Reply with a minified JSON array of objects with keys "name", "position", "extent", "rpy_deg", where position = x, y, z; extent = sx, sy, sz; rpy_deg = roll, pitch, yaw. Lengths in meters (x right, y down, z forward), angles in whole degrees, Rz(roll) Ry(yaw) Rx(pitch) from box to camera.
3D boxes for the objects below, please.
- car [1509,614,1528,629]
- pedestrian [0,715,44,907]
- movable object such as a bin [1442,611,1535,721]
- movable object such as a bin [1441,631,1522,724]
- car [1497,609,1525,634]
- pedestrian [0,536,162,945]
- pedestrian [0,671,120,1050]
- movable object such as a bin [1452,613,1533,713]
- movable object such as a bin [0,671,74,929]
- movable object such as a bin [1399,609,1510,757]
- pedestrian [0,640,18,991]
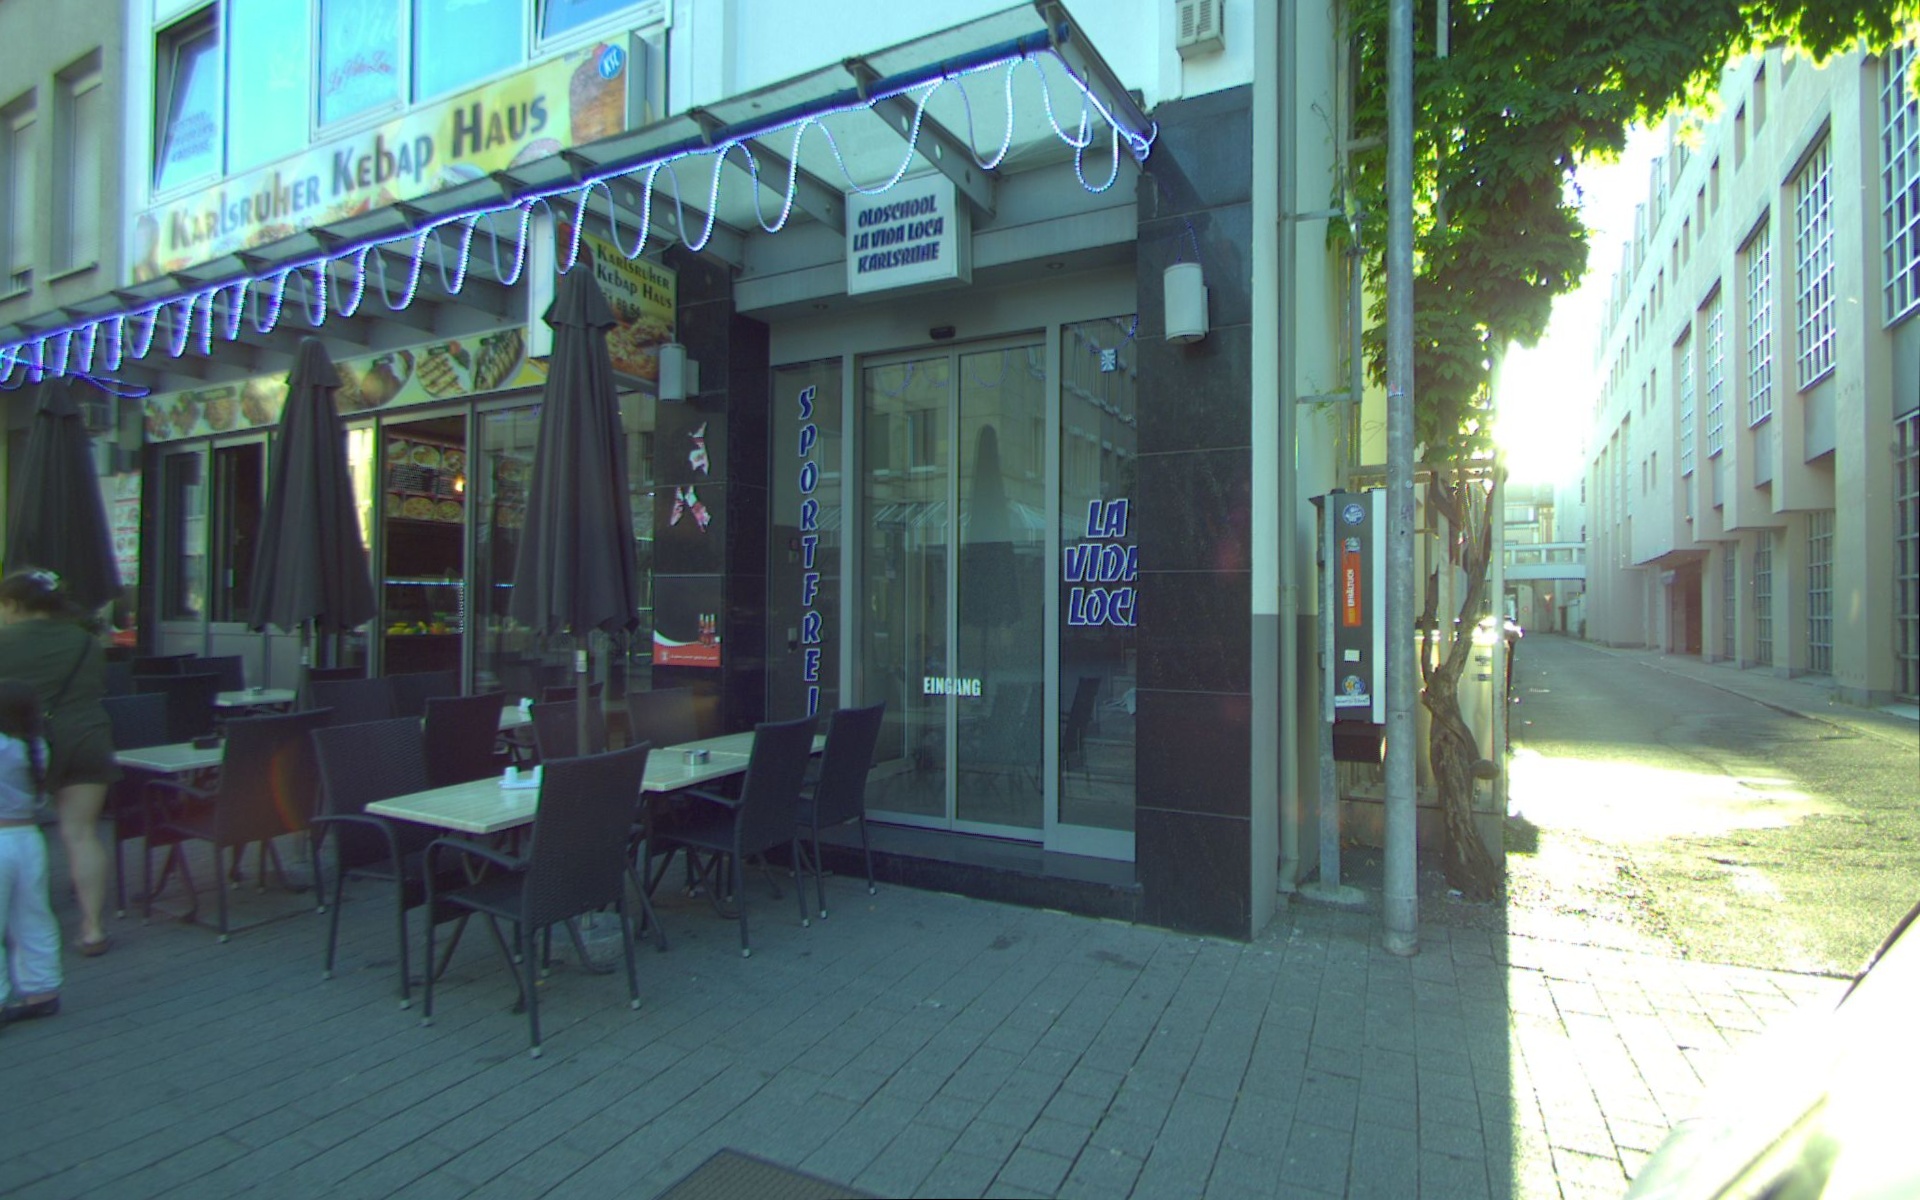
[{"name":"car","position":[74.247,2.844,134.644],"extent":[1.981,1.839,3.961],"rpy_deg":[-2,-2,27]},{"name":"pedestrian","position":[-4.554,0.963,4.582],"extent":[0.546,0.802,0.505],"rpy_deg":[0,-1,37]},{"name":"movable object such as a bin","position":[7.280,0.868,13.995],"extent":[1.057,1.384,1.329],"rpy_deg":[2,0,27]},{"name":"movable object such as a bin","position":[6.661,0.968,12.948],"extent":[0.864,1.088,0.731],"rpy_deg":[2,0,28]},{"name":"car","position":[42.240,1.622,77.574],"extent":[1.749,1.790,4.701],"rpy_deg":[-3,-2,29]},{"name":"pedestrian","position":[-3.838,0.536,4.128],"extent":[0.618,1.555,0.783],"rpy_deg":[-1,-1,39]},{"name":"pedestrian","position":[-3.131,0.825,3.337],"extent":[0.469,1.139,0.406],"rpy_deg":[0,-1,30]},{"name":"movable object such as a bin","position":[7.969,0.910,15.202],"extent":[0.930,1.384,1.331],"rpy_deg":[2,0,23]},{"name":"movable object such as a bin","position":[-4.432,0.874,4.519],"extent":[0.795,1.050,0.580],"rpy_deg":[0,-1,39]},{"name":"movable object such as a bin","position":[4.926,0.772,10.043],"extent":[0.832,1.321,1.275],"rpy_deg":[2,0,32]},{"name":"pedestrian","position":[-3.707,0.775,3.377],"extent":[0.651,1.263,0.515],"rpy_deg":[1,-1,-18]}]
